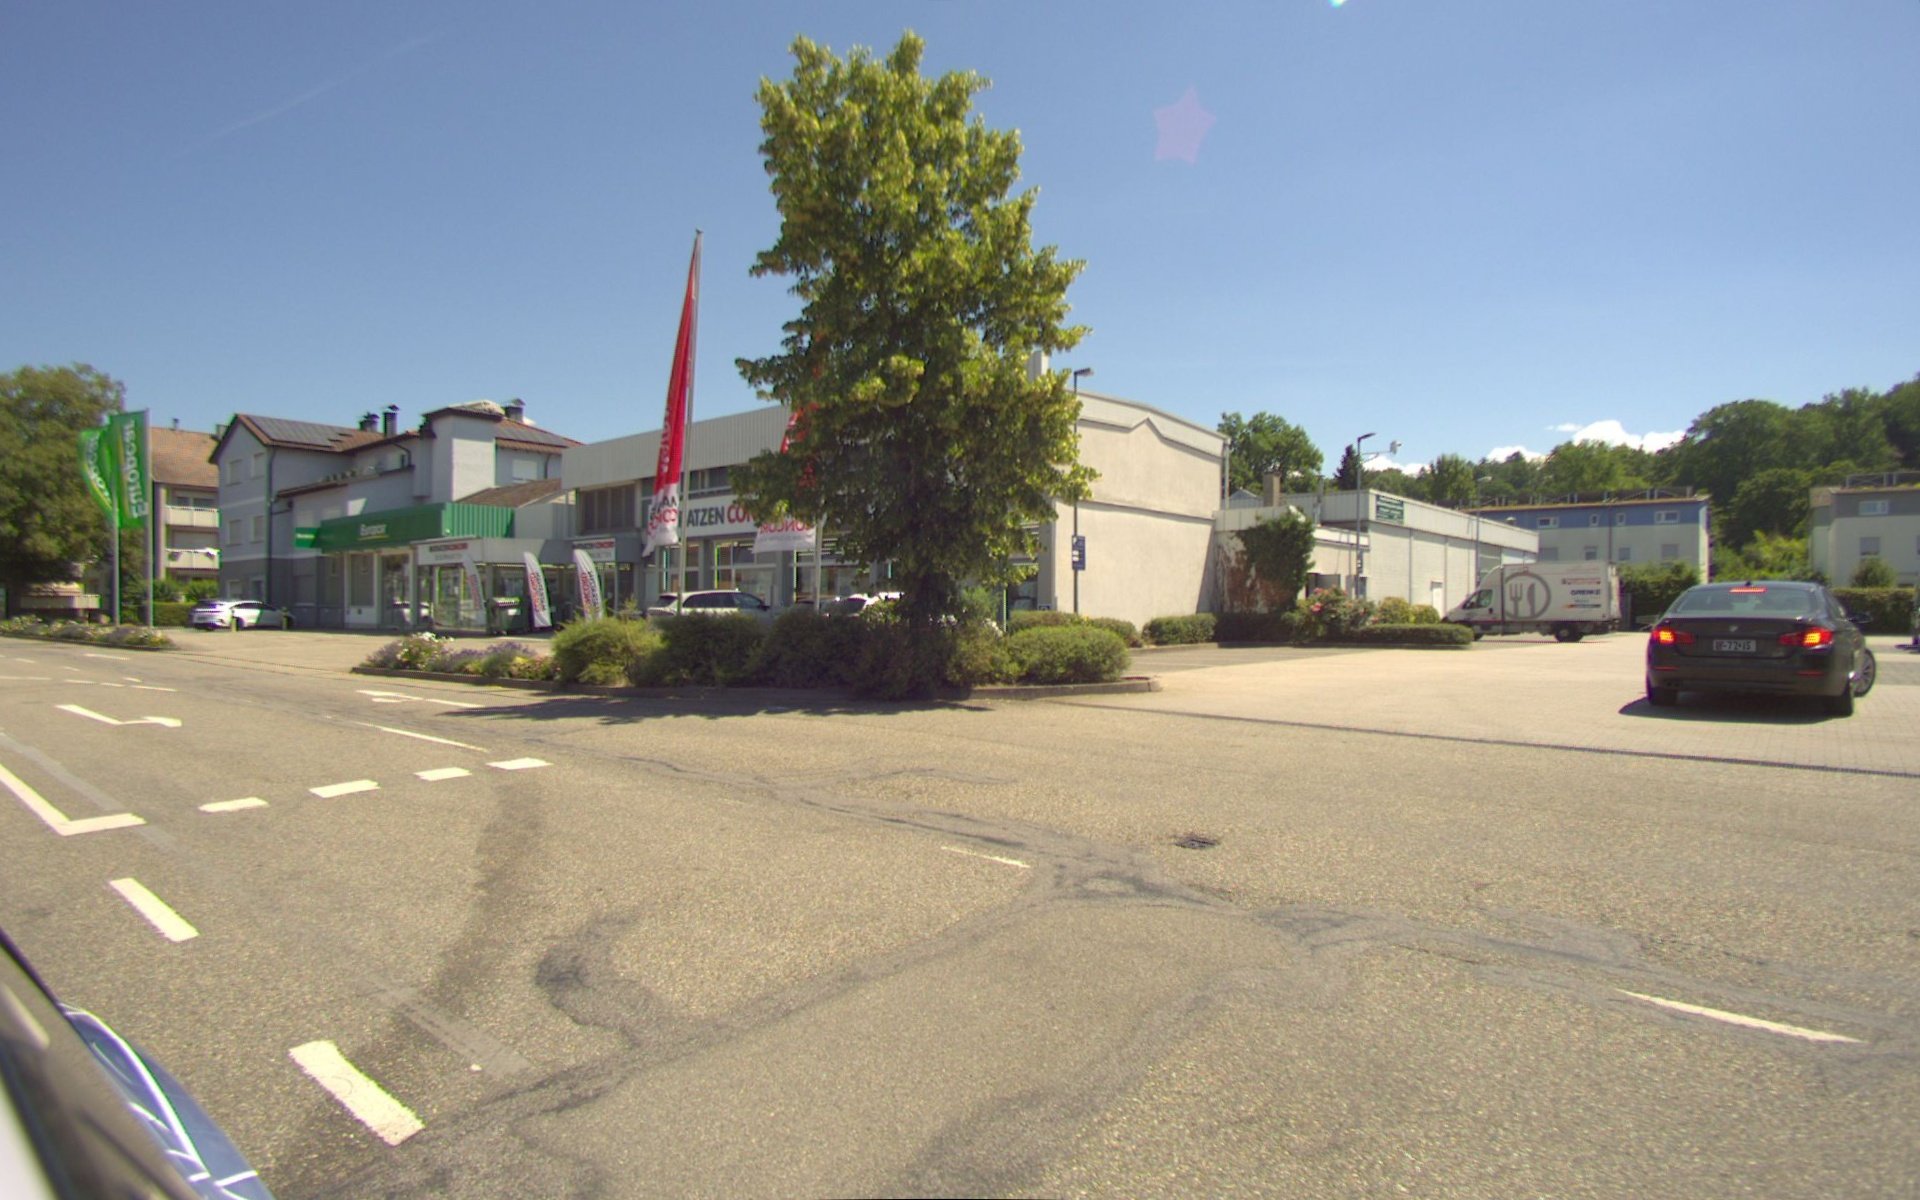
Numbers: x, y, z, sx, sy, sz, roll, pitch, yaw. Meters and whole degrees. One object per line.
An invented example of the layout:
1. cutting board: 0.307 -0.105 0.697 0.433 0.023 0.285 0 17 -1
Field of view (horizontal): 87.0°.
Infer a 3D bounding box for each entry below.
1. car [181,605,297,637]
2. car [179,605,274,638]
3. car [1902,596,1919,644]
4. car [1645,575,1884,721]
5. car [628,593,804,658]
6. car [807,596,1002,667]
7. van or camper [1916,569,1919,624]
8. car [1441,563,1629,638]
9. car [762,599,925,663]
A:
1. car: -34.658 0.965 48.788 1.922 1.450 4.334 -1 0 15
2. car: -37.364 1.059 51.596 1.966 1.577 3.527 -1 0 37
3. car: 28.969 0.589 29.310 1.764 1.379 4.202 0 1 33
4. car: 9.768 0.418 12.153 1.938 1.411 4.623 0 1 42
5. car: -6.939 0.676 28.955 4.469 1.676 2.005 -1 0 -34
6. car: -1.246 0.676 23.606 4.129 1.457 1.984 -1 0 -36
7. van or camper: 34.286 -0.122 34.662 2.009 1.951 4.317 0 1 40
8. car: 21.659 -0.018 38.285 5.896 2.646 2.258 0 1 41
9. car: -2.953 0.744 25.770 3.577 1.486 2.005 -1 0 -34
